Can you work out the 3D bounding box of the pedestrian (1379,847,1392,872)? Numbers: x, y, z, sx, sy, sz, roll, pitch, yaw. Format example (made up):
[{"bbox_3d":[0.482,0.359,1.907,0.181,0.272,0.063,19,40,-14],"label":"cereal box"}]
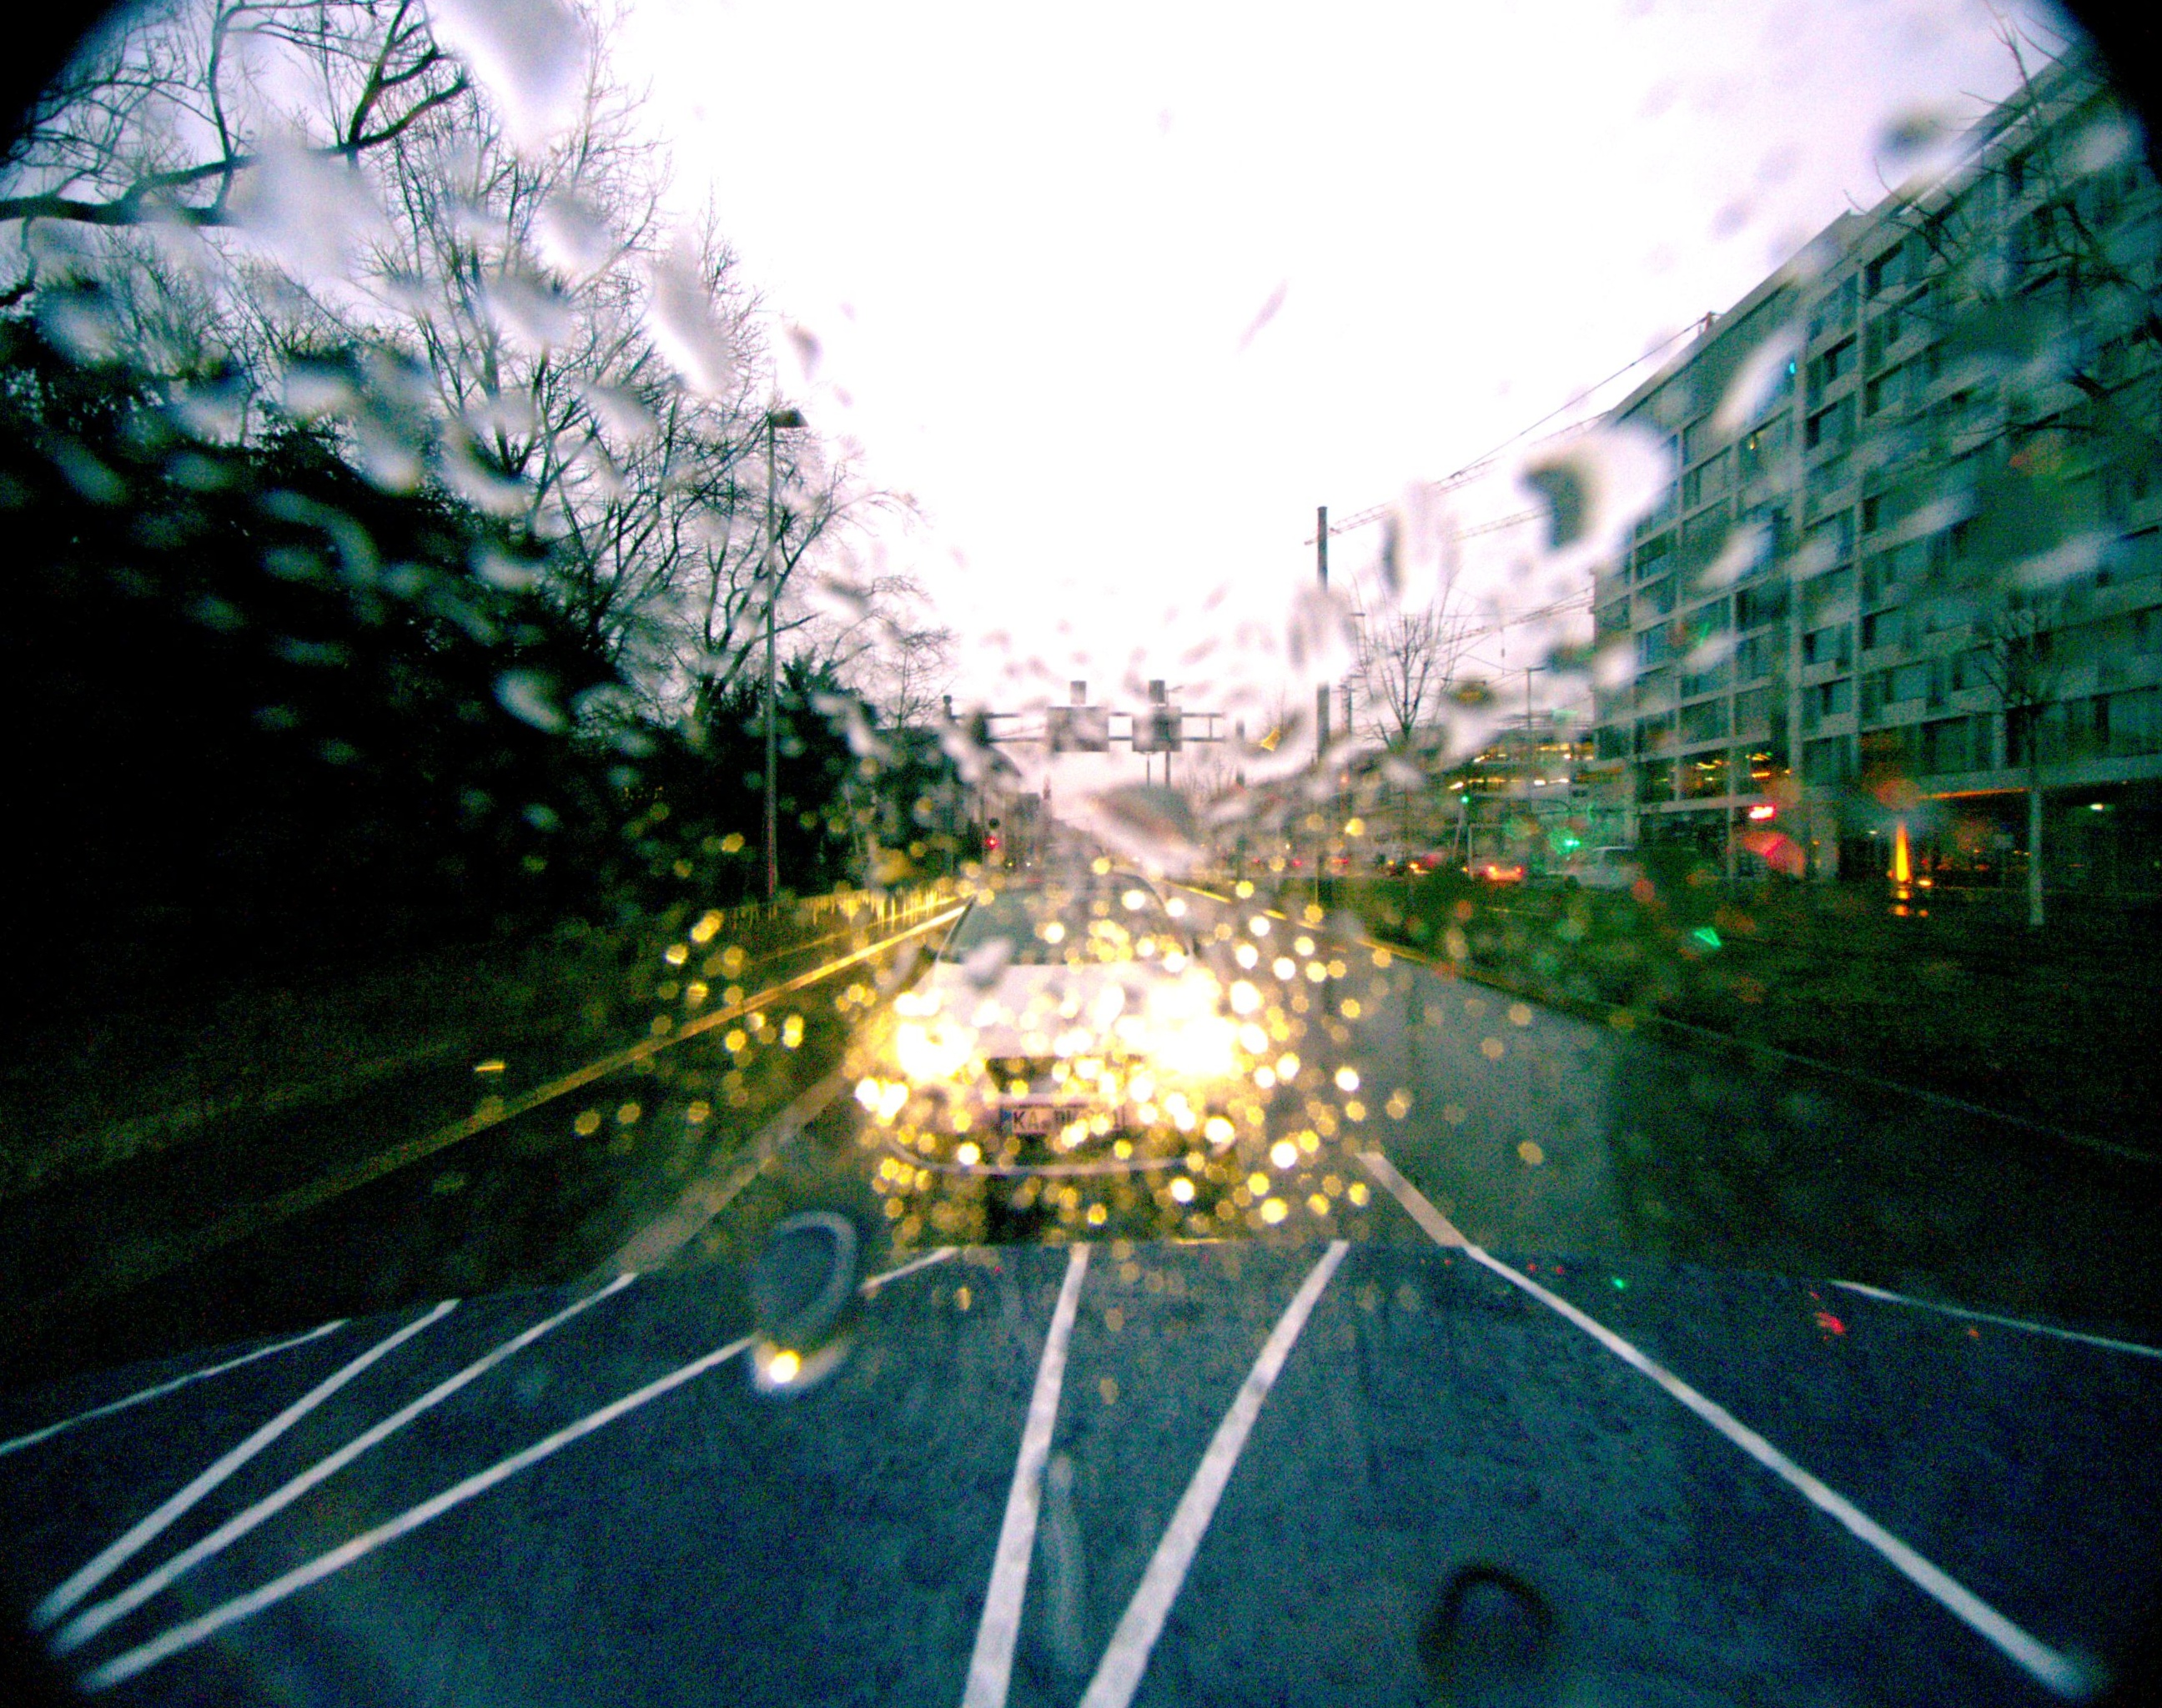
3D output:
[{"bbox_3d":[22.212,0.396,55.398,0.709,1.794,0.770,-2,1,12],"label":"pedestrian"}]

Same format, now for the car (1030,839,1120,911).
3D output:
[{"bbox_3d":[-0.107,0.479,20.043,2.073,1.618,4.268,-2,1,1],"label":"car"}]

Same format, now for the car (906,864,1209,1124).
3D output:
[{"bbox_3d":[-0.120,0.903,6.815,1.886,1.552,4.171,0,0,1],"label":"car"}]

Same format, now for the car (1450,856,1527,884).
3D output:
[{"bbox_3d":[20.565,0.781,38.527,1.816,1.300,4.000,0,0,1],"label":"car"}]

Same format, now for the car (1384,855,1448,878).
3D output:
[{"bbox_3d":[21.053,0.774,47.966,2.111,1.392,4.257,0,0,-1],"label":"car"}]

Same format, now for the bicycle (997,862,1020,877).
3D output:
[{"bbox_3d":[-5.699,1.220,59.751,1.721,1.036,0.692,-2,1,-5],"label":"bicycle"}]

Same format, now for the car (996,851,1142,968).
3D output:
[{"bbox_3d":[-0.221,0.804,13.261,2.073,1.618,4.267,-2,1,-1],"label":"car"}]

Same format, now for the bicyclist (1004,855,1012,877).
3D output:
[{"bbox_3d":[-5.739,0.914,59.744,0.593,1.675,0.692,-2,1,-6],"label":"bicyclist"}]

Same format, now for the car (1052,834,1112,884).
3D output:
[{"bbox_3d":[0.038,0.166,28.240,1.998,1.618,4.268,-2,0,0],"label":"car"}]

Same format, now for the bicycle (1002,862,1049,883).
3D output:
[{"bbox_3d":[-4.187,1.425,57.661,3.384,1.442,0.969,-2,1,12],"label":"bicycle"}]

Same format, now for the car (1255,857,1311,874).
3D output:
[{"bbox_3d":[15.720,0.883,59.253,3.994,1.267,1.819,0,0,8],"label":"car"}]

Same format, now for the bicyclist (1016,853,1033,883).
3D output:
[{"bbox_3d":[-4.261,1.039,57.648,0.933,2.210,0.969,-2,1,12],"label":"bicyclist"}]

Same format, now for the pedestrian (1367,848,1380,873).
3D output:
[{"bbox_3d":[21.480,0.457,55.818,0.709,1.794,0.770,-2,1,11],"label":"pedestrian"}]

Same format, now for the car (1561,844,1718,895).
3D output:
[{"bbox_3d":[20.130,0.508,27.741,2.086,1.659,5.043,0,0,1],"label":"car"}]
